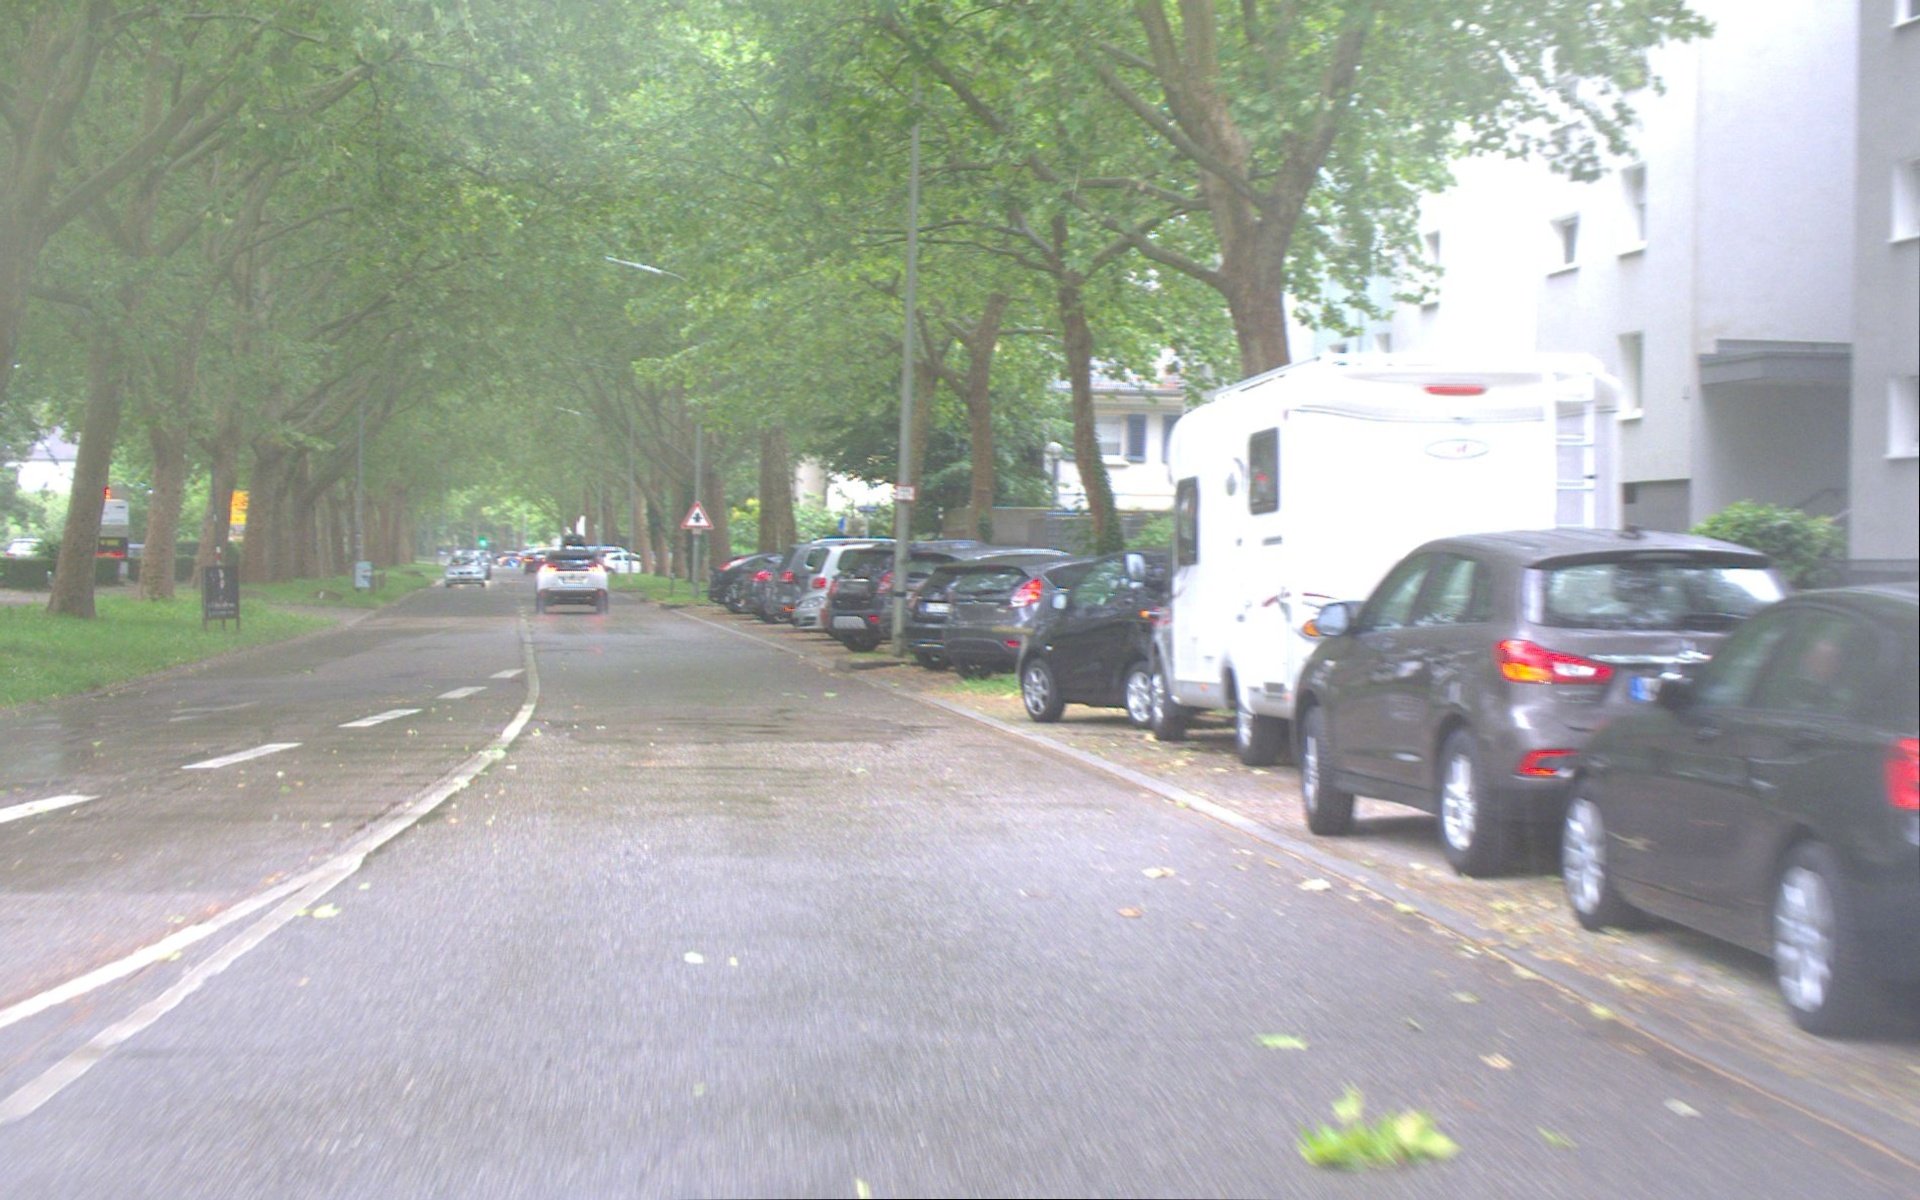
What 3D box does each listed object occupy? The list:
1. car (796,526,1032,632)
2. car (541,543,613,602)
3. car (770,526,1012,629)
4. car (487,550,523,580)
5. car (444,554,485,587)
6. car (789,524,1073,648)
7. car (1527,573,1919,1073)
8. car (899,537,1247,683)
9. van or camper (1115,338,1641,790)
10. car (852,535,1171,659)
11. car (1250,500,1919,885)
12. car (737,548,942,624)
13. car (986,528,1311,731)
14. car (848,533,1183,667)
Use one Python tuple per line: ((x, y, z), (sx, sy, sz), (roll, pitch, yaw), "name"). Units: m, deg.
((-0.838, -0.382, 60.984), (3.986, 1.721, 1.801), (2, 1, -6), "car")
((-9.610, -0.701, 85.998), (1.705, 1.406, 3.645), (-1, 1, -7), "car")
((-1.316, -0.427, 64.462), (4.336, 1.756, 1.819), (2, 1, -7), "car")
((-22.338, -1.735, 168.779), (1.705, 1.406, 3.645), (-1, 1, -7), "car")
((-22.142, -1.327, 153.764), (1.678, 1.384, 4.550), (0, 1, -7), "car")
((-0.416, -0.244, 51.233), (3.855, 1.691, 1.837), (-2, 3, -35), "car")
((3.287, 0.652, 12.046), (1.548, 1.385, 4.150), (2, 1, -5), "car")
((1.355, 0.124, 40.532), (3.757, 1.596, 1.803), (1, 1, -37), "car")
((2.801, -0.274, 25.141), (2.318, 2.798, 6.865), (2, 1, -5), "van or camper")
((0.734, -0.039, 48.331), (3.987, 1.596, 2.035), (1, 1, -34), "car")
((2.912, 0.417, 17.063), (1.915, 1.615, 4.454), (2, -1, -8), "car")
((-2.525, -0.300, 71.392), (4.034, 1.436, 1.686), (-1, 2, -10), "car")
((1.620, 0.230, 30.456), (1.686, 1.647, 2.947), (2, 1, -23), "car")
((0.734, 0.015, 44.174), (3.988, 1.596, 1.803), (1, 1, -37), "car")
